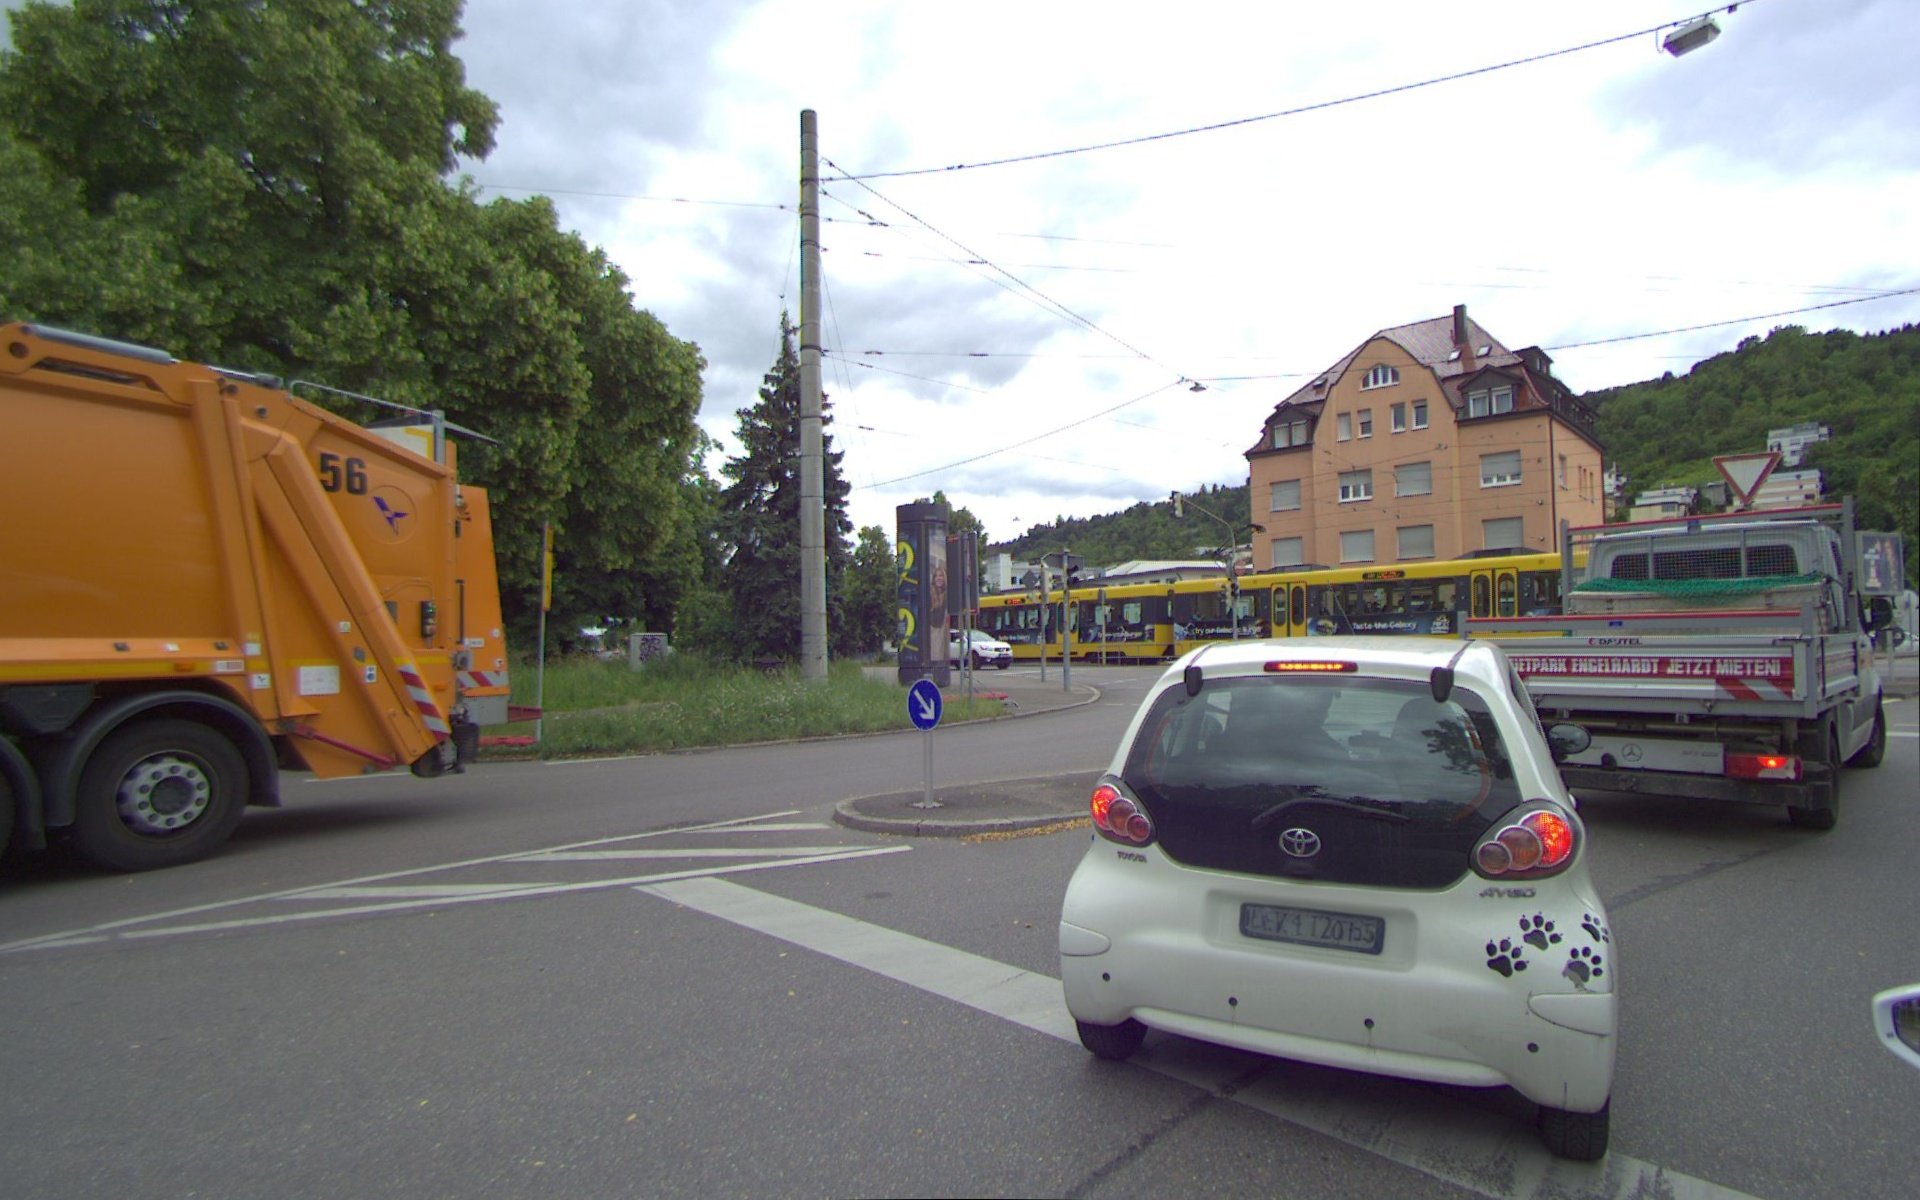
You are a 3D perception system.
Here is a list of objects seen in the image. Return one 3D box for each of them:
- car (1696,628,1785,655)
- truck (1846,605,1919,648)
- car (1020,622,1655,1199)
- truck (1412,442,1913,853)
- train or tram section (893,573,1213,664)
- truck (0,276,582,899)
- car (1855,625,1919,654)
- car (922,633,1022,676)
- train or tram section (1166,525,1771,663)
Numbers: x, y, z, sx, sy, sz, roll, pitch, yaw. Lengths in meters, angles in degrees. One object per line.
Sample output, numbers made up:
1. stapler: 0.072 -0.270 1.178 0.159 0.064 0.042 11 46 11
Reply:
1. car: 47.570 2.555 61.279 4.153 1.553 1.768 -3 -3 39
2. truck: 55.204 1.529 58.418 5.112 2.424 1.995 -3 -3 33
3. car: 1.732 0.866 4.289 1.615 1.451 3.426 -3 -3 29
4. truck: 6.499 0.371 8.889 5.986 2.429 2.399 1 -4 -43
5. train or tram section: 3.575 1.209 49.355 3.250 3.714 18.960 0 -3 -39
6. truck: -7.175 -0.056 5.504 2.746 3.573 10.408 -1 -1 27
7. car: 52.936 2.178 56.164 1.764 1.553 4.162 1 -3 -44
8. car: 0.426 2.188 40.152 1.788 1.605 4.079 0 -3 -40
9. train or tram section: 16.145 0.291 35.317 3.255 3.714 18.933 0 -3 -43
